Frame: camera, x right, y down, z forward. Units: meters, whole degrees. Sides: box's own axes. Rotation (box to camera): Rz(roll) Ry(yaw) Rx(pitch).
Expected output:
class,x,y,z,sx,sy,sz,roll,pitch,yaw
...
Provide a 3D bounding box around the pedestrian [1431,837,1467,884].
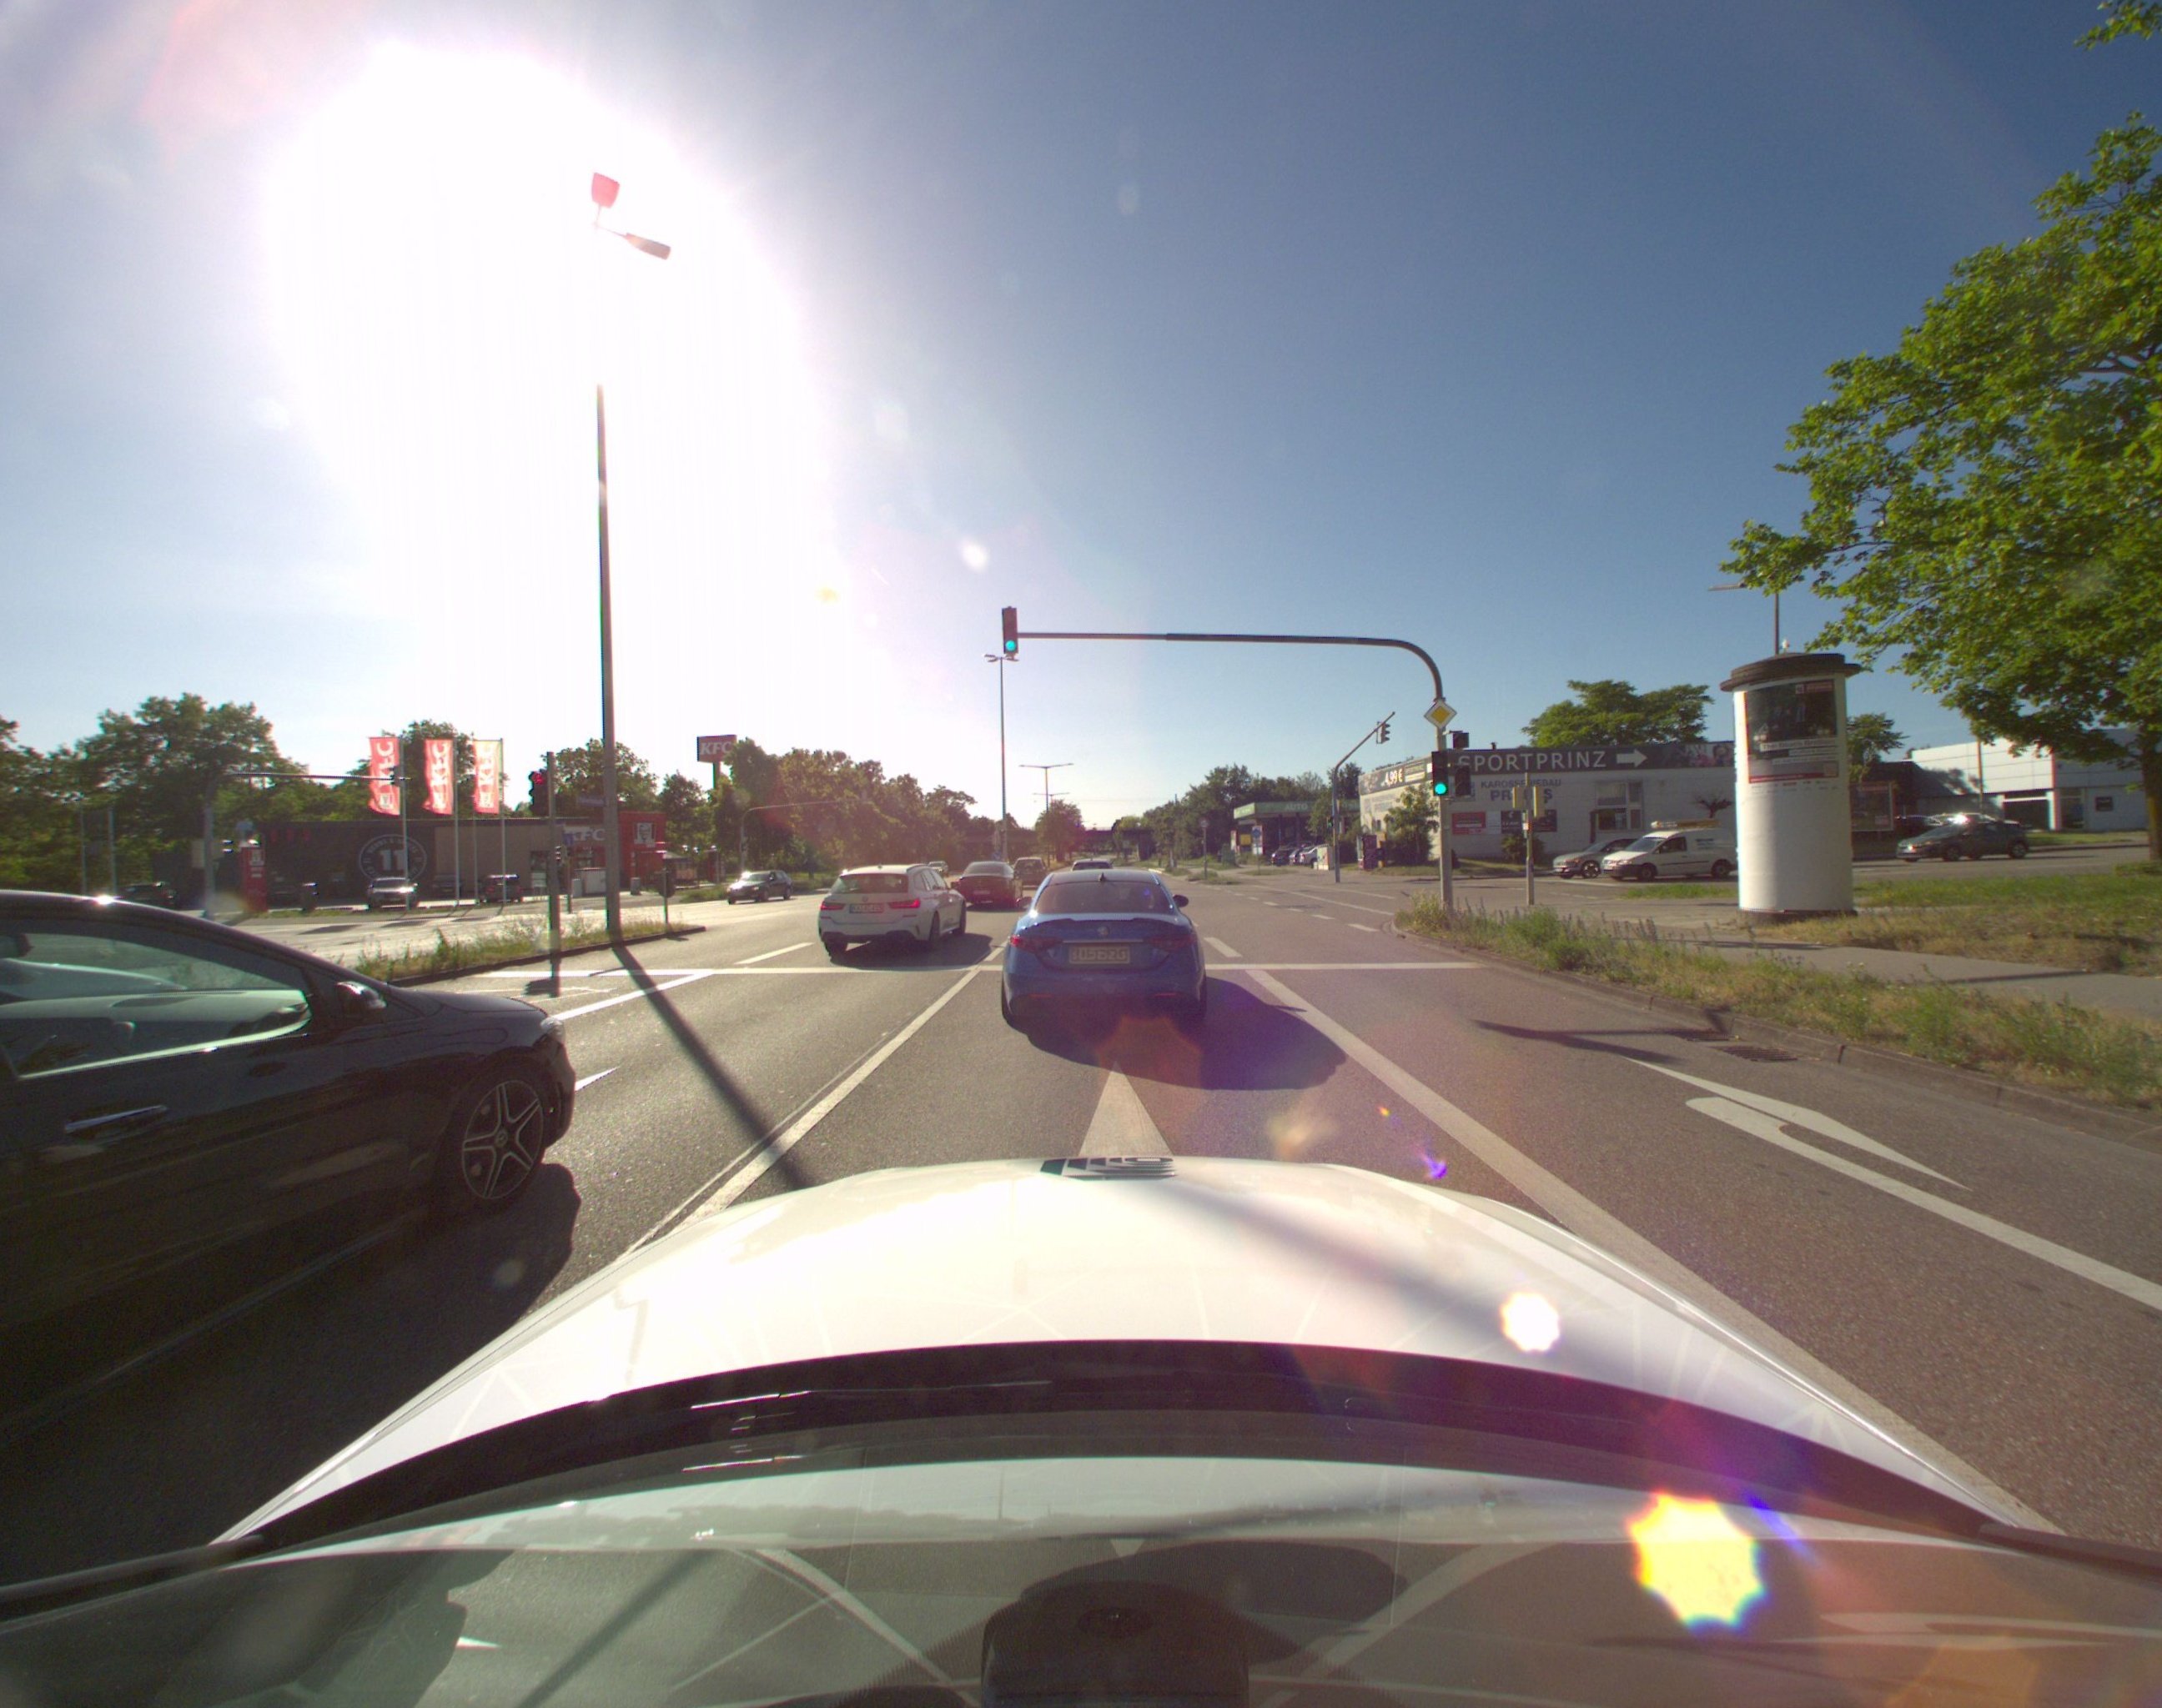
class,x,y,z,sx,sy,sz,roll,pitch,yaw
pedestrian,13.821,0.242,30.574,0.922,1.735,0.939,0,-1,1

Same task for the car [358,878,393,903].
class,x,y,z,sx,sy,sz,roll,pitch,yaw
car,-46.149,2.357,53.316,1.670,1.471,3.872,0,-1,-40

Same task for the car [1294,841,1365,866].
class,x,y,z,sx,sy,sz,roll,pitch,yaw
car,17.480,-0.052,57.422,4.470,1.454,1.860,-3,-1,3

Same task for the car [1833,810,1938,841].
class,x,y,z,sx,sy,sz,roll,pitch,yaw
car,45.874,-1.580,46.588,1.750,1.490,4.574,-3,-1,6

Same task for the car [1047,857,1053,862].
class,x,y,z,sx,sy,sz,roll,pitch,yaw
car,-8.971,1.564,234.799,1.565,1.618,4.001,0,-1,2

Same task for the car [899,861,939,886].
class,x,y,z,sx,sy,sz,roll,pitch,yaw
car,-10.869,1.290,54.849,1.752,1.490,3.838,-3,-1,2

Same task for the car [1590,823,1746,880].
class,x,y,z,sx,sy,sz,roll,pitch,yaw
car,21.209,-0.097,29.526,4.367,1.801,1.765,-2,1,0

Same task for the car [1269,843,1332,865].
class,x,y,z,sx,sy,sz,roll,pitch,yaw
car,17.202,-0.001,64.043,4.470,1.454,1.860,-3,-1,3

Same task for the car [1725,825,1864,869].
class,x,y,z,sx,sy,sz,roll,pitch,yaw
car,28.680,-0.267,32.829,4.029,1.490,1.782,-3,-1,-1

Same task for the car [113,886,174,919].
class,x,y,z,sx,sy,sz,roll,pitch,yaw
car,-52.861,2.691,45.983,1.670,1.673,3.897,1,-1,-40

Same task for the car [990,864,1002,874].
class,x,y,z,sx,sy,sz,roll,pitch,yaw
car,-14.826,2.624,141.944,1.603,1.647,3.463,0,-1,1

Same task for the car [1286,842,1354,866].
class,x,y,z,sx,sy,sz,roll,pitch,yaw
car,17.679,0.012,60.444,4.470,1.454,1.860,-3,-1,3

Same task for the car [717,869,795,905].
class,x,y,z,sx,sy,sz,roll,pitch,yaw
car,-15.484,1.551,39.075,1.752,1.490,4.480,-3,-1,2

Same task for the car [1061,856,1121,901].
class,x,y,z,sx,sy,sz,roll,pitch,yaw
car,0.341,0.792,27.542,1.844,1.418,4.403,0,-1,1

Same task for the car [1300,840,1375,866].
class,x,y,z,sx,sy,sz,roll,pitch,yaw
car,17.201,-0.041,54.792,4.470,1.454,1.860,-3,-1,3

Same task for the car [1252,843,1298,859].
class,x,y,z,sx,sy,sz,roll,pitch,yaw
car,20.730,-0.316,87.208,4.532,1.490,1.766,-3,-1,3

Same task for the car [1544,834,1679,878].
class,x,y,z,sx,sy,sz,roll,pitch,yaw
car,21.329,0.068,32.859,4.273,1.549,1.765,-3,1,0

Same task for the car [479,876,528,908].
class,x,y,z,sx,sy,sz,roll,pitch,yaw
car,-34.162,2.202,48.292,1.920,1.752,4.315,0,-1,-29

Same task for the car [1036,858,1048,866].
class,x,y,z,sx,sy,sz,roll,pitch,yaw
car,-7.640,1.522,159.506,1.752,1.490,4.480,-3,-1,2

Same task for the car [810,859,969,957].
class,x,y,z,sx,sy,sz,roll,pitch,yaw
car,-3.246,0.861,14.734,1.779,1.490,4.403,0,-1,1

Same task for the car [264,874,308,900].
class,x,y,z,sx,sy,sz,roll,pitch,yaw
car,-48.938,1.997,50.201,1.670,1.471,3.872,0,-1,-40

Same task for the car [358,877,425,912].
class,x,y,z,sx,sy,sz,roll,pitch,yaw
car,-37.820,2.181,44.801,2.006,1.765,4.315,0,-1,-29

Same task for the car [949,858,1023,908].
class,x,y,z,sx,sy,sz,roll,pitch,yaw
car,-2.963,0.887,26.278,1.790,1.490,4.475,0,-1,1

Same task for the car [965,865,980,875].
class,x,y,z,sx,sy,sz,roll,pitch,yaw
car,-16.020,2.336,120.003,1.610,1.559,3.358,0,-1,1

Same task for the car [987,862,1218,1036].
class,x,y,z,sx,sy,sz,roll,pitch,yaw
car,0.202,0.810,8.917,1.889,1.418,4.403,0,-1,1

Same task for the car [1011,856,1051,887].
class,x,y,z,sx,sy,sz,roll,pitch,yaw
car,-2.506,0.867,41.647,1.753,1.490,4.403,0,-1,1

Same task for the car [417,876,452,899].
class,x,y,z,sx,sy,sz,roll,pitch,yaw
car,-43.663,2.249,54.979,1.670,1.471,3.872,0,-1,-40

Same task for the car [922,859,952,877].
class,x,y,z,sx,sy,sz,roll,pitch,yaw
car,-14.330,1.385,81.226,1.981,1.629,4.480,-3,-1,2

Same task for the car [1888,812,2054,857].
class,x,y,z,sx,sy,sz,roll,pitch,yaw
car,35.640,-0.743,32.700,4.533,1.490,1.766,-3,-1,2

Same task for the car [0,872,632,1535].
class,x,y,z,sx,sy,sz,roll,pitch,yaw
car,-3.352,0.821,2.277,1.753,1.490,4.401,0,-1,0

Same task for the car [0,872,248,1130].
class,x,y,z,sx,sy,sz,roll,pitch,yaw
car,-7.181,0.857,4.025,1.753,1.490,4.197,0,-1,1
